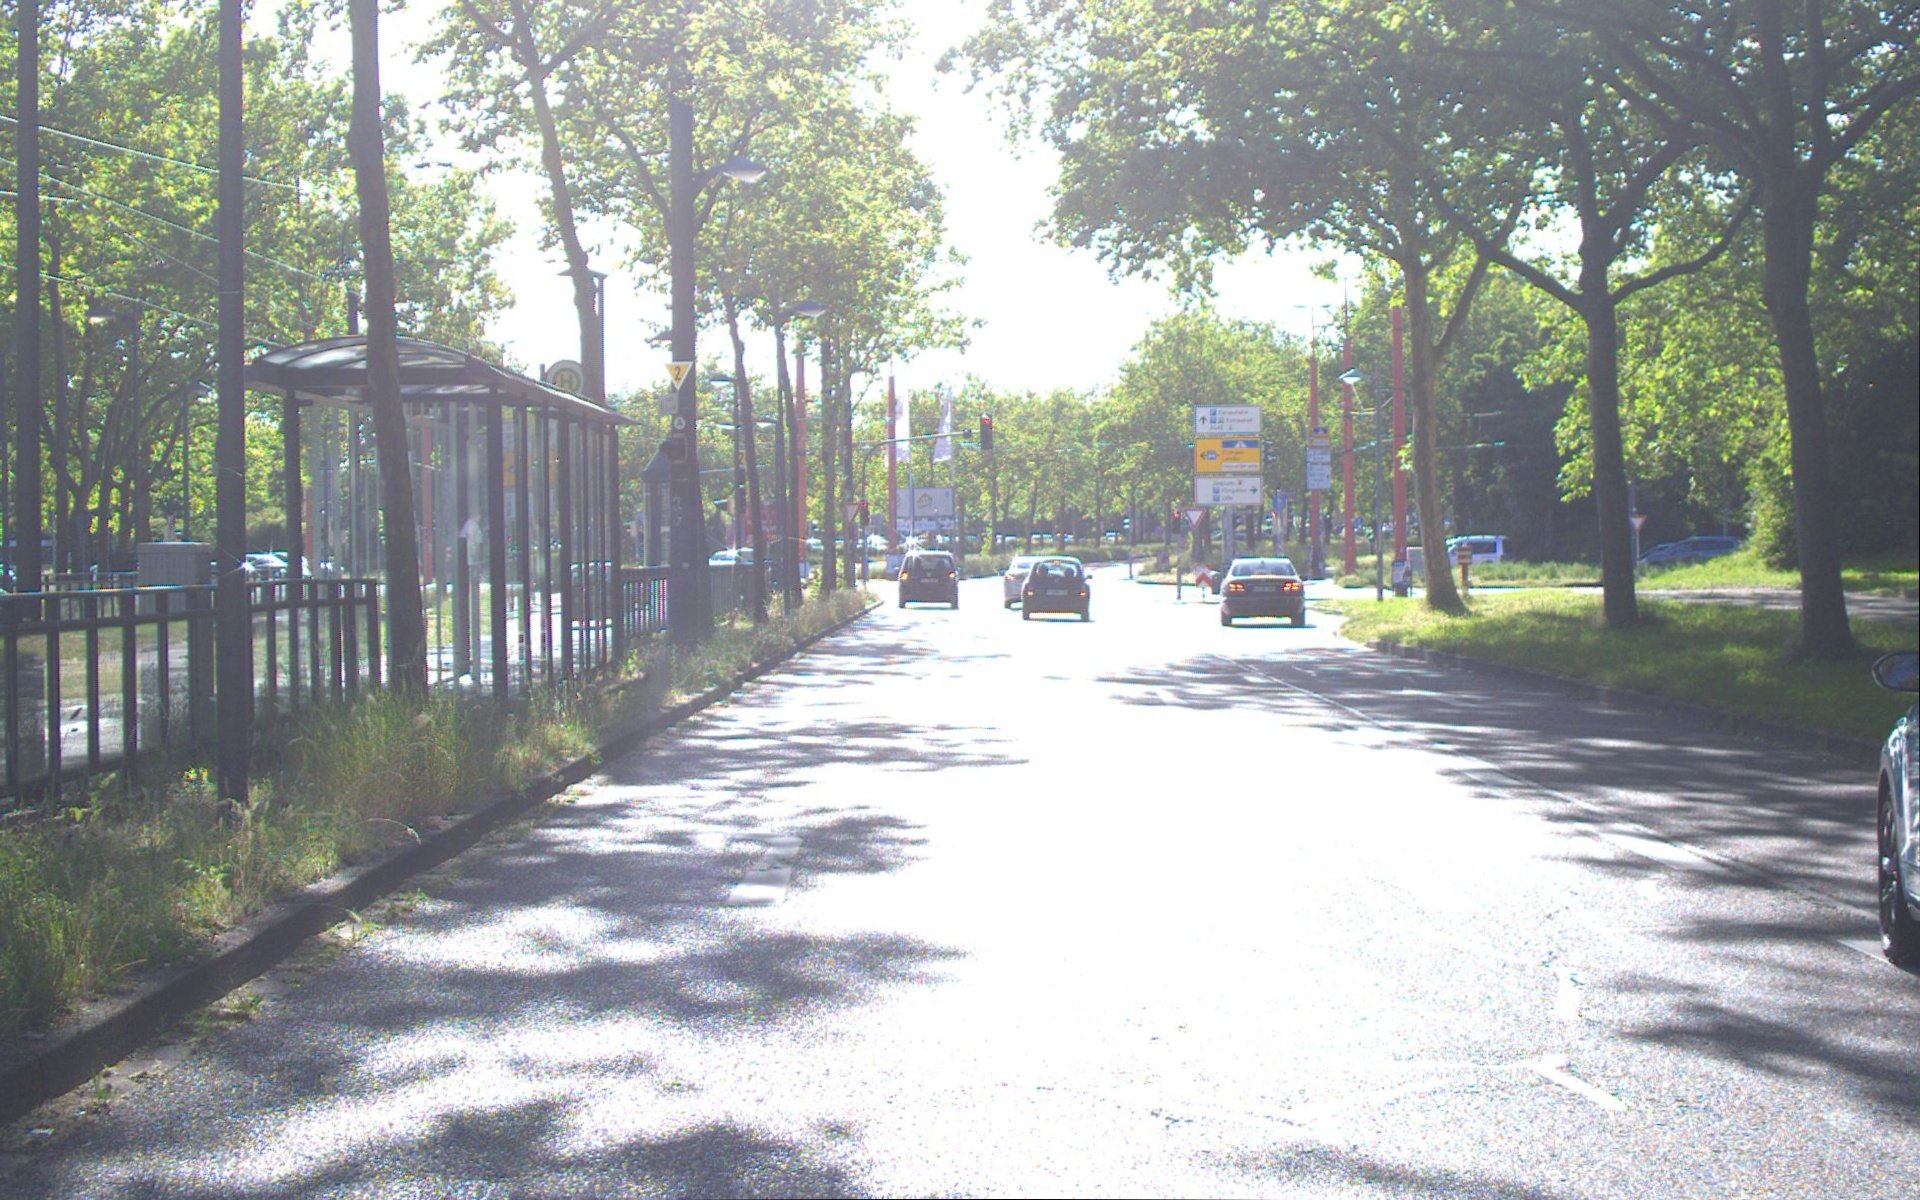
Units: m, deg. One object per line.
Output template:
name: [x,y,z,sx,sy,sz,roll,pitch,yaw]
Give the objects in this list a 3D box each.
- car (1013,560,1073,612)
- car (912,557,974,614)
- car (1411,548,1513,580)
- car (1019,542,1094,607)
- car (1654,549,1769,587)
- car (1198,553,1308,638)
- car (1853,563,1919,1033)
car: [2.392,-0.413,99.484,1.678,1.470,4.130,1,0,1]
car: [-0.500,-0.421,98.876,1.710,1.598,3.350,0,0,-1]
car: [21.675,-1.550,148.481,3.992,1.333,1.726,1,0,26]
car: [2.320,-0.640,83.603,1.639,1.489,3.504,1,1,-1]
car: [31.356,-1.336,143.472,4.357,1.553,1.870,1,0,25]
car: [6.472,-0.110,76.349,1.982,1.786,4.614,1,0,-1]
car: [4.028,0.642,11.290,1.776,1.478,4.098,1,1,10]
